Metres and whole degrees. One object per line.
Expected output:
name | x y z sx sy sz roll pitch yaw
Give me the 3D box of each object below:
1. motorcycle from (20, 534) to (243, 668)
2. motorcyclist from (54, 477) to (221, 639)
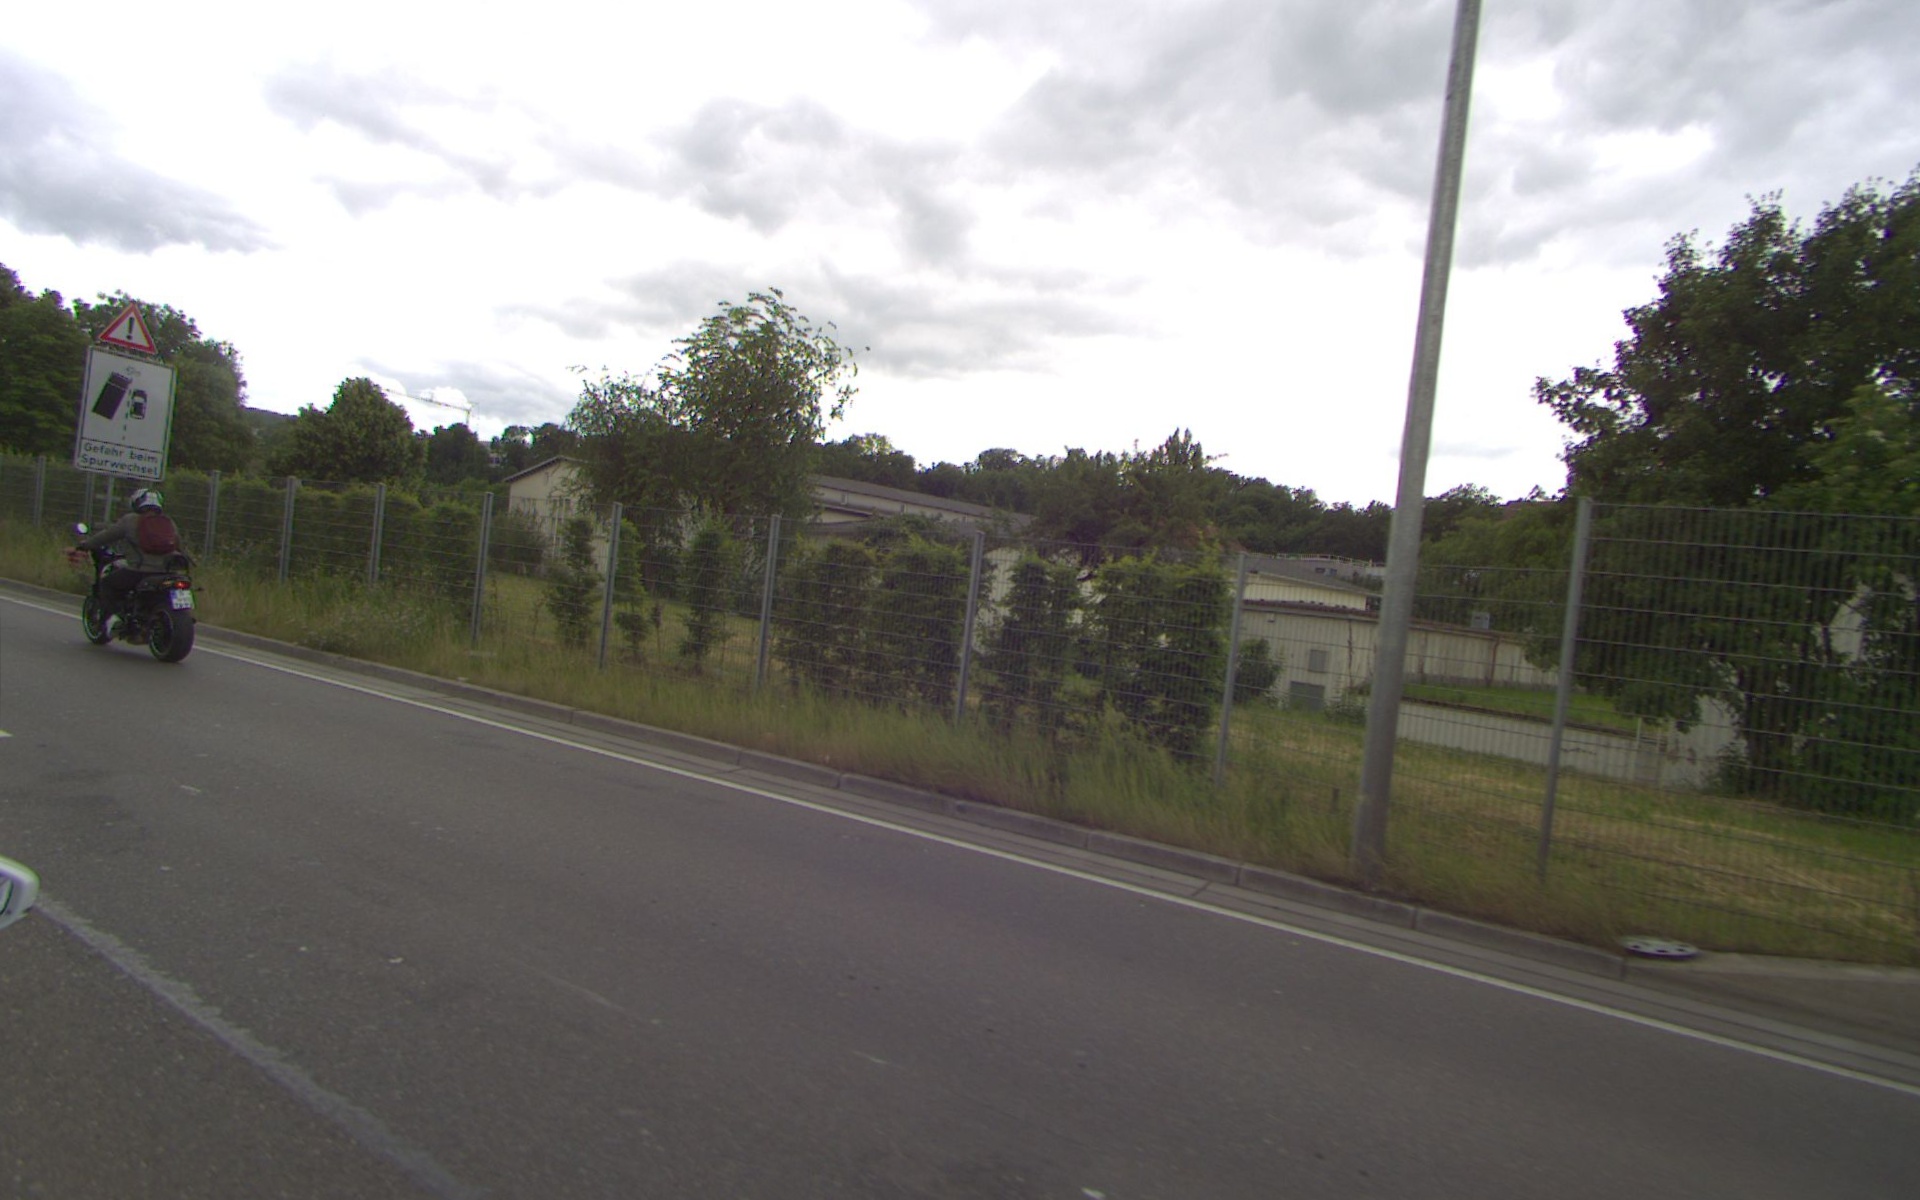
motorcycle | -8.653 -0.007 10.471 2.618 1.097 0.745 6 1 27
motorcyclist | -8.476 -0.417 10.382 0.950 1.495 0.914 7 0 26
